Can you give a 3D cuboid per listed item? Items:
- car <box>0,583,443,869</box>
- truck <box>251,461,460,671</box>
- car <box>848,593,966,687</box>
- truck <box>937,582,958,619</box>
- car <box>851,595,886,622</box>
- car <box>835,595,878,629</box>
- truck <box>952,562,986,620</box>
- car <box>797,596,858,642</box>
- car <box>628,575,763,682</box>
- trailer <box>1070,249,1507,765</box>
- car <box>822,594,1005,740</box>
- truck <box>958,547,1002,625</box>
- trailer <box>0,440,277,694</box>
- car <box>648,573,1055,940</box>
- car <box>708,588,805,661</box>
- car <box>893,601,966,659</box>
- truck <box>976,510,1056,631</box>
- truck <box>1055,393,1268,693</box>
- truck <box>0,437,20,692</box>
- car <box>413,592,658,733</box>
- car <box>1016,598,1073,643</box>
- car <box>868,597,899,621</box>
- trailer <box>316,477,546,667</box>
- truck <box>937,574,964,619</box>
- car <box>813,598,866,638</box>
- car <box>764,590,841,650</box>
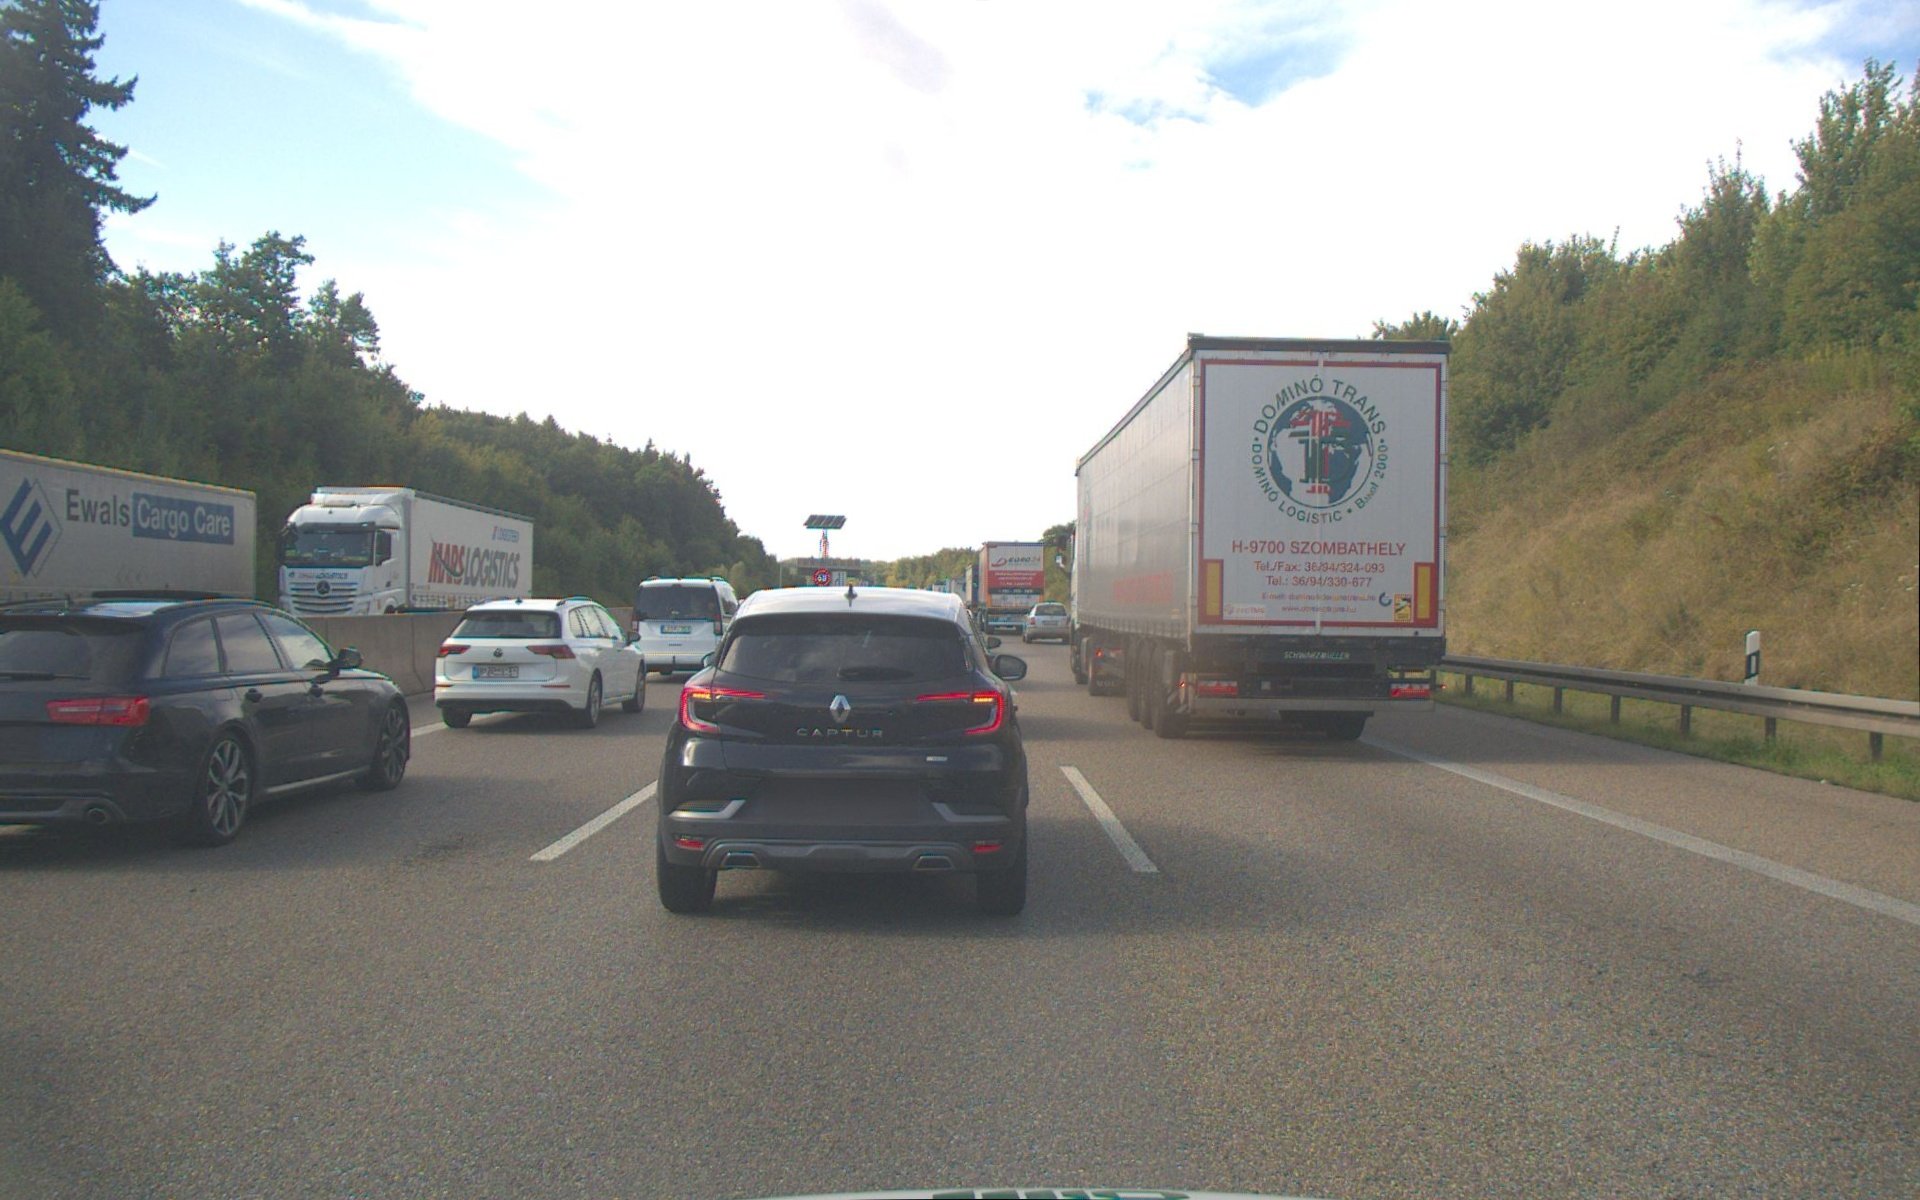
[{"bbox_3d":[-5.098,0.647,11.020,1.805,1.481,4.747,1,0,0],"label":"car"},{"bbox_3d":[-16.128,-0.824,44.756,3.025,5.190,7.139,1,-1,-1],"label":"truck"},{"bbox_3d":[-0.888,0.682,29.622,1.953,1.540,4.000,1,-1,0],"label":"car"},{"bbox_3d":[-1.903,0.180,260.508,3.101,5.601,12.736,1,-1,0],"label":"truck"},{"bbox_3d":[-5.643,0.526,102.664,1.953,1.641,4.000,1,0,0],"label":"car"},{"bbox_3d":[-5.286,0.597,85.041,1.953,1.641,4.000,1,0,0],"label":"car"},{"bbox_3d":[0.973,-0.783,167.729,3.101,5.601,12.739,1,-1,2],"label":"truck"},{"bbox_3d":[-4.959,0.696,62.374,1.953,1.641,4.000,1,-1,0],"label":"car"},{"bbox_3d":[-4.847,0.517,30.834,1.873,1.821,4.416,1,-1,-1],"label":"car"},{"bbox_3d":[3.496,-0.871,21.989,2.941,4.742,13.287,1,0,-1],"label":"trailer"},{"bbox_3d":[-0.505,0.739,19.881,1.953,1.540,4.000,1,-1,0],"label":"car"},{"bbox_3d":[1.480,-0.975,127.437,3.101,5.601,12.736,1,-1,0],"label":"truck"},{"bbox_3d":[-20.137,-0.605,38.063,2.867,4.914,14.650,1,-1,-1],"label":"trailer"},{"bbox_3d":[-0.410,0.685,9.203,1.767,1.579,4.001,0,0,2],"label":"car"},{"bbox_3d":[-4.924,0.598,40.480,1.817,1.669,3.925,1,-1,0],"label":"car"},{"bbox_3d":[-0.821,0.828,46.656,1.953,1.540,4.000,1,-1,0],"label":"car"},{"bbox_3d":[2.443,-1.220,77.165,3.296,5.132,12.736,1,-1,0],"label":"truck"},{"bbox_3d":[3.385,-0.908,29.361,2.936,4.749,5.938,1,0,-1],"label":"truck"},{"bbox_3d":[-20.042,-0.731,30.277,2.872,4.944,4.764,1,-1,-1],"label":"truck"},{"bbox_3d":[-4.936,0.687,19.862,1.767,1.486,4.308,1,0,1],"label":"car"},{"bbox_3d":[3.055,0.751,60.255,1.768,1.559,3.924,1,-1,-1],"label":"car"},{"bbox_3d":[-5.369,0.634,116.094,1.953,1.641,4.000,1,0,0],"label":"car"},{"bbox_3d":[-16.266,-0.720,52.408,3.025,5.162,13.831,1,-1,-1],"label":"trailer"},{"bbox_3d":[-1.133,-0.310,201.202,3.101,5.250,12.736,1,-1,0],"label":"truck"},{"bbox_3d":[-5.058,0.758,69.907,1.953,1.641,4.000,1,-1,0],"label":"car"},{"bbox_3d":[-4.783,0.600,50.730,1.953,1.752,4.000,1,-1,0],"label":"car"}]
